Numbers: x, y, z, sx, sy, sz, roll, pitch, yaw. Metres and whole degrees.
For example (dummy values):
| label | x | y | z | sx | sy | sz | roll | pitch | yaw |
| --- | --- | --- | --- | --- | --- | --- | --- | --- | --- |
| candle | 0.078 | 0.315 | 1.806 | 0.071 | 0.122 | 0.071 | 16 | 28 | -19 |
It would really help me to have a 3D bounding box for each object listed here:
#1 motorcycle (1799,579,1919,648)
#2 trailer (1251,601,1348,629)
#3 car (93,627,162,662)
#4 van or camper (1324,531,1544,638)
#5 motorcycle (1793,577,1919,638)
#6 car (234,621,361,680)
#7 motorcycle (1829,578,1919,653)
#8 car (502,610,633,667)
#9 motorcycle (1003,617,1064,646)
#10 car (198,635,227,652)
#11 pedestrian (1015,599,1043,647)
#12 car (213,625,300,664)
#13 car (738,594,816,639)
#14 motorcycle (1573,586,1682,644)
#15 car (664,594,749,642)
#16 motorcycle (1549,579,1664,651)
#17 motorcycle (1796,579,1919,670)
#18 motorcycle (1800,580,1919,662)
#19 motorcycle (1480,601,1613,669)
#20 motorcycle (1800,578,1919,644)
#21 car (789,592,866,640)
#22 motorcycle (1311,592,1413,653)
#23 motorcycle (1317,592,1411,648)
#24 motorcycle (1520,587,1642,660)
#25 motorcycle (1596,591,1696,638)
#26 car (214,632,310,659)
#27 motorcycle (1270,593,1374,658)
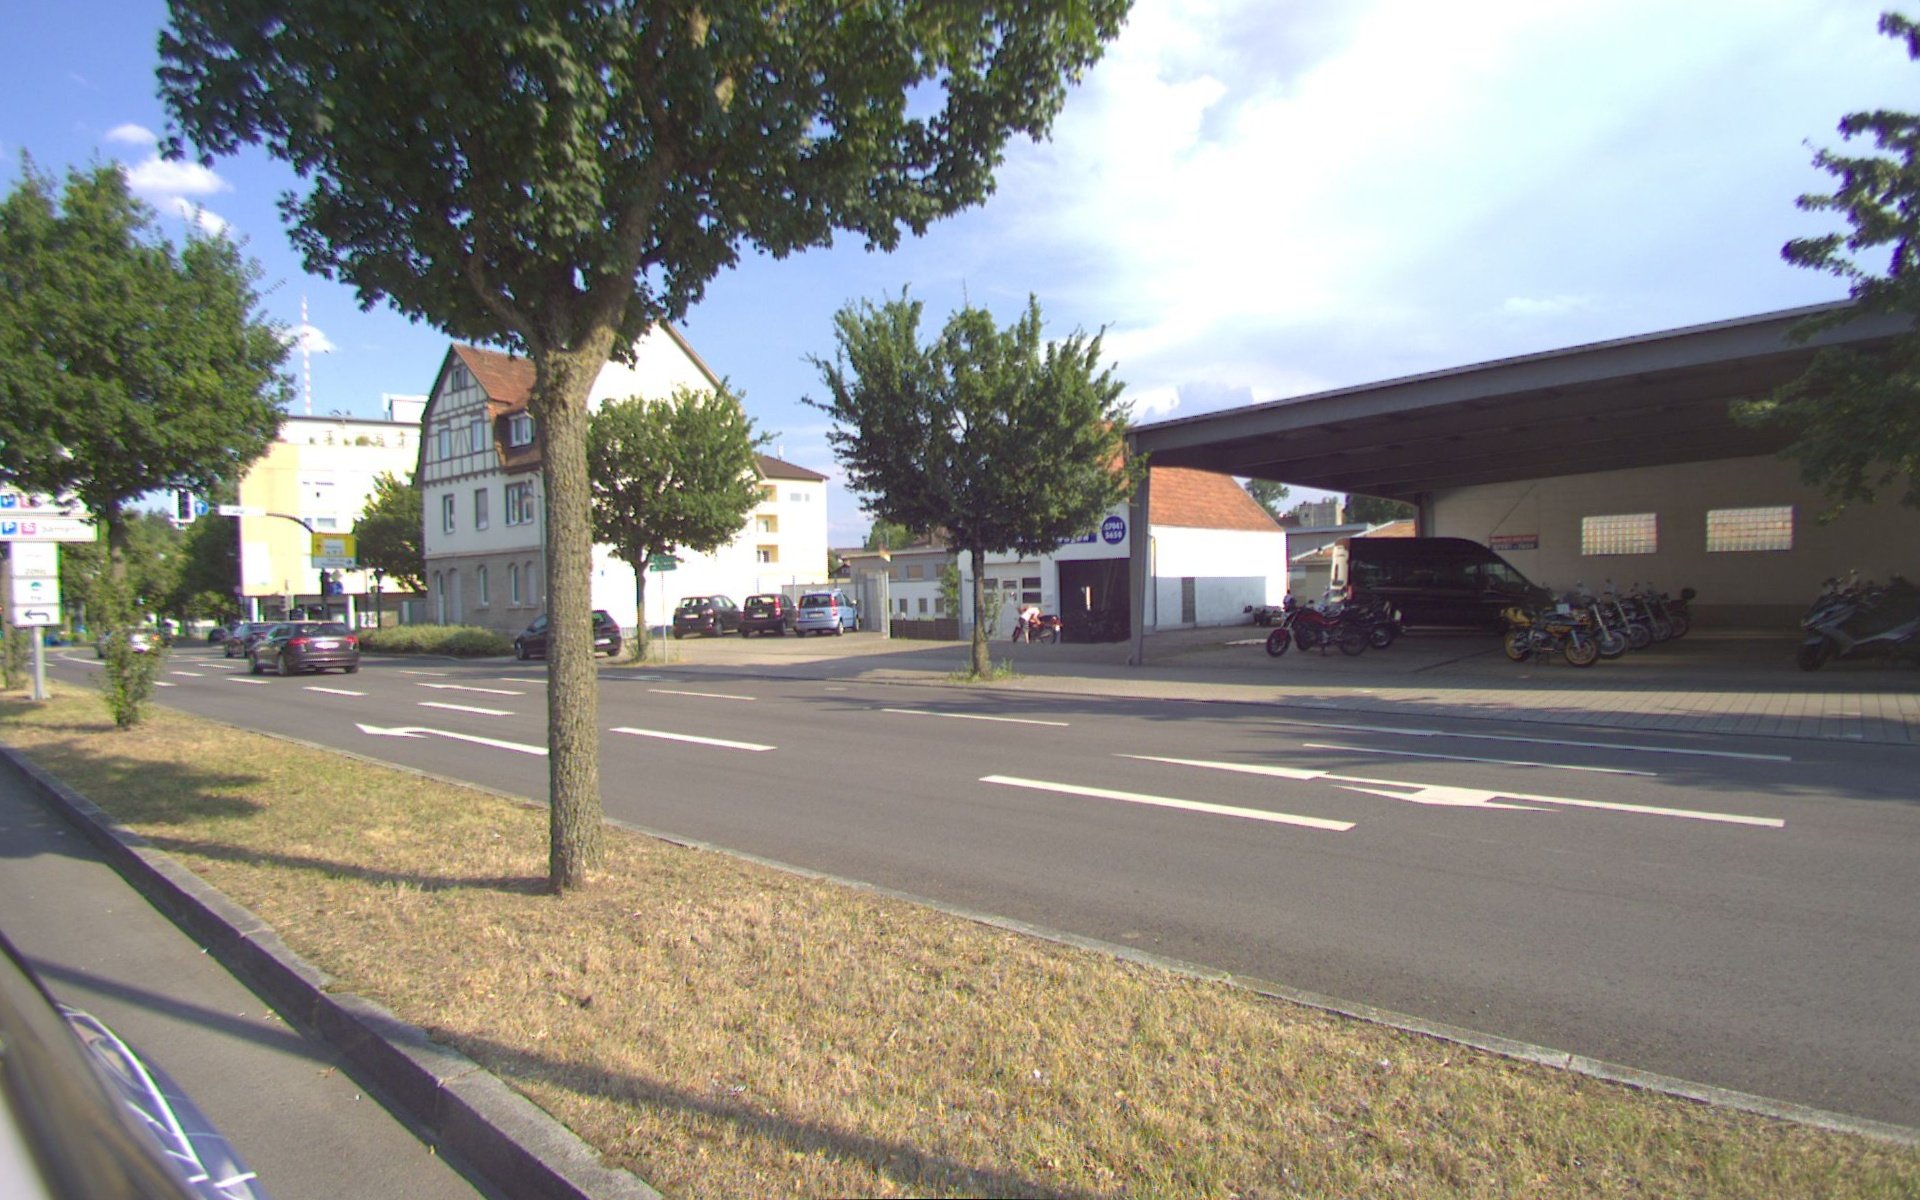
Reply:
| label | x | y | z | sx | sy | sz | roll | pitch | yaw |
| --- | --- | --- | --- | --- | --- | --- | --- | --- | --- |
| motorcycle | 17.971 | 0.267 | 20.009 | 2.068 | 1.317 | 0.581 | -1 | 0 | 12 |
| trailer | 12.515 | 0.527 | 37.254 | 2.449 | 0.831 | 3.152 | -1 | 2 | 38 |
| car | -36.303 | 1.906 | 44.096 | 4.478 | 1.359 | 1.761 | -1 | 0 | 43 |
| van or camper | 12.762 | -0.379 | 27.577 | 4.980 | 2.700 | 1.995 | -1 | 0 | 9 |
| motorcycle | 19.913 | 0.174 | 22.527 | 2.068 | 1.317 | 0.561 | -1 | 0 | 12 |
| car | -17.457 | 1.285 | 26.597 | 4.186 | 1.397 | 1.628 | -1 | 0 | 40 |
| motorcycle | 17.099 | 0.272 | 18.257 | 2.068 | 1.317 | 0.621 | -1 | 0 | 12 |
| car | -11.739 | 1.108 | 30.159 | 4.193 | 1.454 | 1.816 | -1 | 3 | 41 |
| motorcycle | 2.403 | 1.030 | 33.355 | 2.212 | 0.927 | 0.500 | -1 | 0 | 45 |
| car | -75.233 | 4.387 | 101.930 | 1.782 | 1.508 | 4.259 | -1 | 0 | -29 |
| pedestrian | 2.219 | 0.731 | 32.716 | 0.642 | 1.535 | 0.676 | -1 | 0 | -21 |
| car | -28.409 | 1.740 | 40.824 | 4.642 | 1.432 | 1.824 | -1 | 0 | 41 |
| car | -6.679 | 0.587 | 37.418 | 1.746 | 1.564 | 3.992 | -1 | 0 | 7 |
| motorcycle | 15.438 | 0.340 | 23.481 | 0.636 | 1.268 | 2.161 | -1 | 0 | -19 |
| car | -9.385 | 0.629 | 37.771 | 1.747 | 1.563 | 3.992 | -2 | 1 | 7 |
| motorcycle | 13.797 | 0.305 | 21.695 | 0.584 | 1.459 | 2.161 | -1 | 0 | -19 |
| motorcycle | 13.886 | 0.360 | 15.130 | 2.093 | 1.317 | 0.561 | -1 | 0 | 12 |
| motorcycle | 15.267 | 0.340 | 16.737 | 2.068 | 1.317 | 0.561 | -1 | 0 | 12 |
| motorcycle | 10.443 | 0.604 | 18.130 | 0.620 | 1.132 | 2.161 | -1 | 0 | -19 |
| motorcycle | 18.959 | 0.230 | 21.172 | 2.068 | 1.317 | 0.561 | -1 | 0 | 12 |
| car | -4.603 | 0.533 | 35.735 | 1.746 | 1.564 | 3.992 | -1 | 0 | 7 |
| motorcycle | 9.023 | 0.495 | 22.771 | 1.982 | 1.321 | 0.649 | -1 | 0 | 5 |
| motorcycle | 9.791 | 0.486 | 24.551 | 1.982 | 1.321 | 0.649 | -1 | 0 | 5 |
| motorcycle | 12.115 | 0.436 | 19.843 | 0.553 | 1.340 | 2.161 | -1 | 0 | -19 |
| motorcycle | 17.206 | 0.354 | 25.436 | 0.553 | 1.131 | 2.161 | -1 | 0 | -19 |
| car | -41.821 | 2.697 | 60.700 | 4.594 | 1.364 | 1.770 | -1 | 0 | -41 |
| motorcycle | 7.555 | 0.540 | 21.188 | 1.991 | 1.321 | 0.665 | -1 | 0 | 18 |
